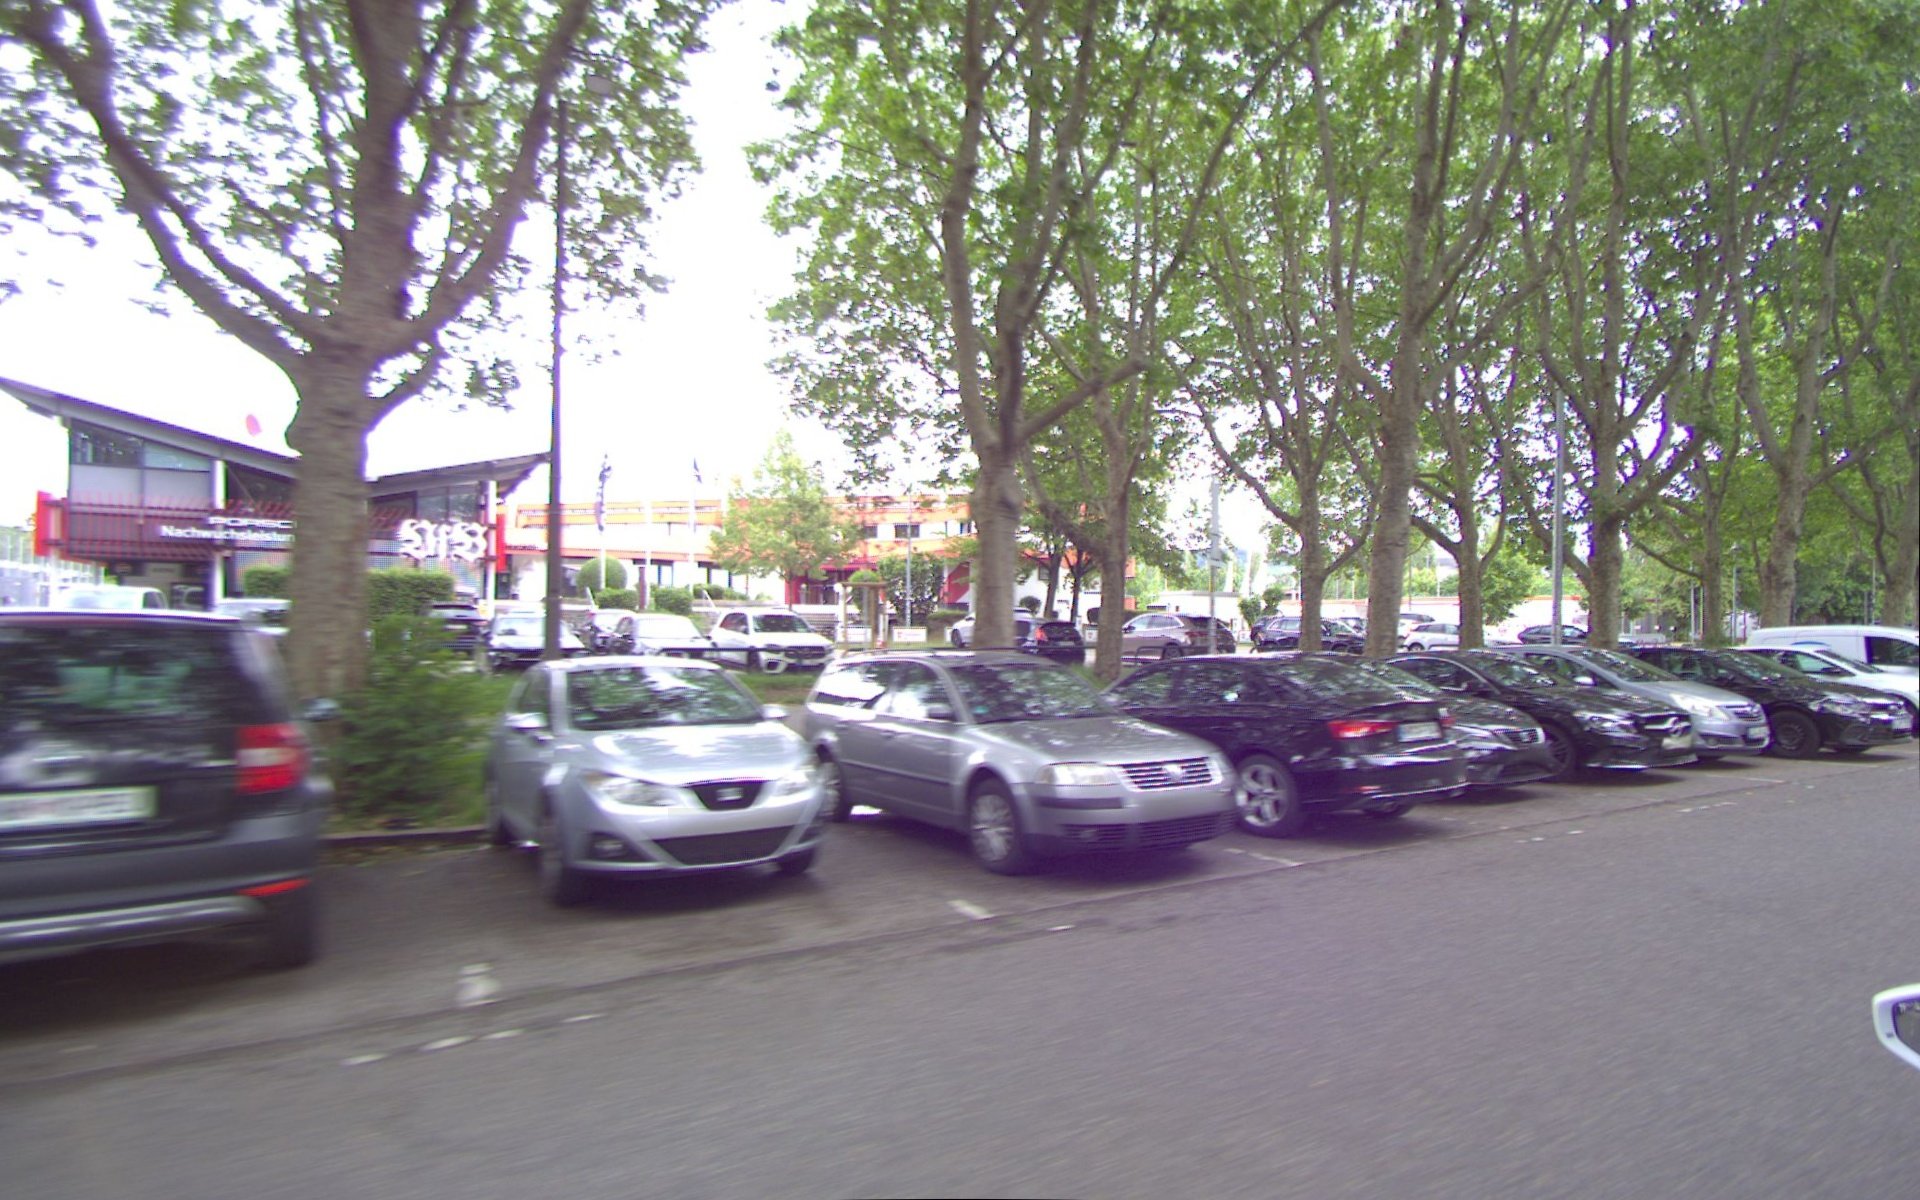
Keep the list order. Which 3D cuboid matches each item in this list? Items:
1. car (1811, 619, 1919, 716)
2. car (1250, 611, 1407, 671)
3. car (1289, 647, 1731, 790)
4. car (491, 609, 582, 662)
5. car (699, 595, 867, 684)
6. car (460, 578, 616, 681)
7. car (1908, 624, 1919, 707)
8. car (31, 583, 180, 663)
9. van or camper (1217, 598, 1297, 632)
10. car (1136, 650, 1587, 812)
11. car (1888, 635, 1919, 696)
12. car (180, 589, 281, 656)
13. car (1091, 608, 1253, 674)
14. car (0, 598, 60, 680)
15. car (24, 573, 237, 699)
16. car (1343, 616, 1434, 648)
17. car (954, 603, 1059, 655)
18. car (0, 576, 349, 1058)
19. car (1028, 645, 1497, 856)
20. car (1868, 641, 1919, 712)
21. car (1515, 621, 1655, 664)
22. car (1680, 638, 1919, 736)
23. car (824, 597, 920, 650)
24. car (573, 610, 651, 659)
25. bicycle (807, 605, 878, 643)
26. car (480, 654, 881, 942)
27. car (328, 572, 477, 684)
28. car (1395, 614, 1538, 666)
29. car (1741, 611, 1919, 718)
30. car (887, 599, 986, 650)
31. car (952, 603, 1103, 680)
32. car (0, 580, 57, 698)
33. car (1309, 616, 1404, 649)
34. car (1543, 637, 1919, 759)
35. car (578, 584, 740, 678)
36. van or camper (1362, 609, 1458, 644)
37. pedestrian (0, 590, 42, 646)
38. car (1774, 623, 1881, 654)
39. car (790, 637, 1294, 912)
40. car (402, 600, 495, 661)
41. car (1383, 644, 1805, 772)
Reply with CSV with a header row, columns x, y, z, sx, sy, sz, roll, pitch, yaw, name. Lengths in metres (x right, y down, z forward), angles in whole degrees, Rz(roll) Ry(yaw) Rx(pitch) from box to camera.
x,y,z,sx,sy,sz,roll,pitch,yaw,name
19.312,1.322,19.147,2.012,1.819,4.297,2,-1,-30,car
12.165,1.304,33.471,2.270,1.785,4.496,2,-1,-31,car
6.392,1.272,12.278,1.878,1.365,4.446,1,-2,-28,car
-12.984,1.042,30.701,1.978,1.446,3.966,2,-1,-32,car
-4.215,0.849,23.197,2.159,1.821,4.914,1,-1,-32,car
-8.740,0.545,20.519,2.159,1.821,4.914,2,-1,-32,car
23.210,1.394,21.199,1.845,1.834,4.298,1,-3,-30,car
-21.696,0.550,25.728,2.159,1.821,4.914,2,-1,-32,car
19.438,0.994,65.628,5.243,2.040,1.983,2,-1,-32,van or camper
4.133,1.270,11.148,1.838,1.384,4.441,1,-3,-31,car
23.291,1.516,21.876,1.946,1.372,4.166,2,-1,-32,car
-19.591,0.573,27.113,1.979,1.647,3.963,2,-1,-34,car
6.229,1.162,30.011,2.270,1.748,4.529,2,-1,-31,car
-24.086,0.883,24.621,2.159,1.821,4.914,2,-1,-32,car
-13.912,0.550,17.193,2.159,1.821,4.914,1,-1,-32,car
22.532,1.665,52.979,1.770,1.569,4.196,2,-1,-31,car
1.748,1.085,39.471,2.265,1.880,4.565,2,-1,-25,car
-4.315,0.852,5.389,1.732,1.730,3.911,1,-2,-31,car
2.415,1.121,8.994,1.684,1.416,3.911,1,-2,-31,car
21.427,1.541,20.302,1.988,1.471,4.114,1,-4,-28,car
25.039,1.673,40.380,2.178,1.569,4.299,2,-1,-31,car
14.640,1.403,16.941,1.751,1.491,3.751,1,-3,-40,car
-3.447,0.865,38.582,2.265,1.880,4.565,2,-1,-25,car
-11.050,1.054,31.763,1.489,1.390,3.966,2,-1,-31,car
-4.976,1.015,42.654,2.769,1.560,1.044,2,-1,-30,bicycle
-2.242,1.109,7.209,1.806,1.382,3.911,1,-2,-31,car
-10.687,0.479,19.077,2.159,1.821,4.914,2,-1,-32,car
18.624,1.425,37.118,2.107,1.732,4.299,2,-1,-31,car
17.044,1.134,18.114,1.848,1.834,4.293,1,-3,-33,car
-1.003,0.940,39.684,2.265,1.880,4.565,2,-1,-25,car
1.740,1.063,27.386,2.005,1.885,4.299,2,-1,-31,car
-16.323,0.573,15.898,2.159,1.821,4.914,2,-1,-32,car
20.450,1.654,52.024,1.937,1.569,4.299,2,-1,-31,car
10.633,1.274,14.071,1.733,1.439,3.966,1,-3,-26,car
-6.721,0.614,22.038,2.159,1.821,4.914,2,-1,-32,car
24.383,1.425,54.552,2.107,1.732,4.299,2,-1,-31,van or camper
-29.015,0.540,30.865,0.976,1.679,0.835,2,0,-31,pedestrian
47.116,2.092,54.640,1.978,1.543,3.969,2,-1,-29,car
0.273,1.058,7.887,1.684,1.501,4.441,1,-2,-31,car
-15.153,0.848,29.643,1.979,1.647,3.963,2,-1,-34,car
8.202,1.296,13.481,1.858,1.387,4.443,1,-2,-30,car
